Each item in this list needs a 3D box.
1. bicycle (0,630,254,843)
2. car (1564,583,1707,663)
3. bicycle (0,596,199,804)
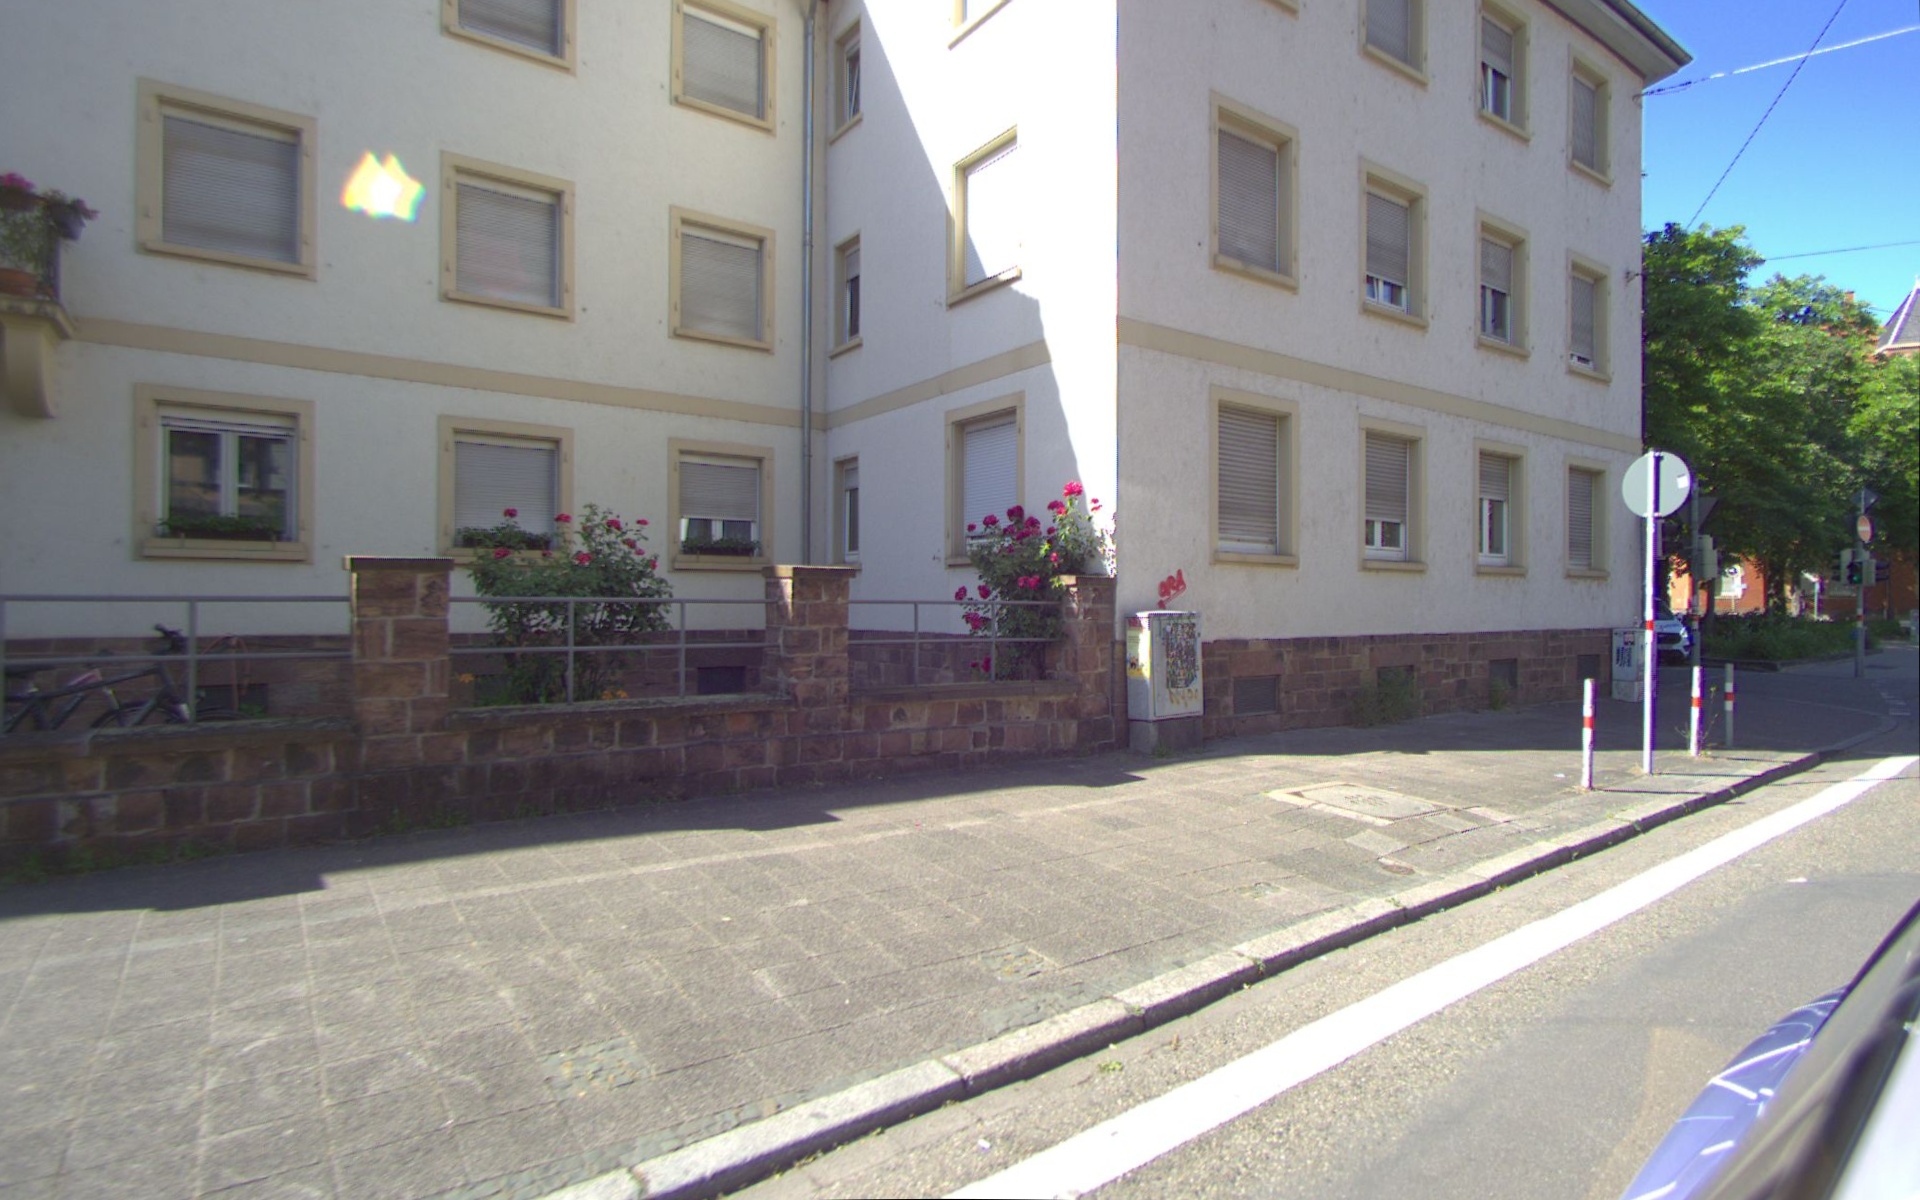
[{"bbox_3d":[-5.021,0.744,5.730,1.643,1.107,0.459,0,-3,-41],"label":"bicycle"},{"bbox_3d":[19.706,0.703,29.785,1.660,2.119,4.741,-2,-2,11],"label":"car"},{"bbox_3d":[-6.097,0.646,6.718,1.643,1.317,0.459,0,-3,-41],"label":"bicycle"}]
